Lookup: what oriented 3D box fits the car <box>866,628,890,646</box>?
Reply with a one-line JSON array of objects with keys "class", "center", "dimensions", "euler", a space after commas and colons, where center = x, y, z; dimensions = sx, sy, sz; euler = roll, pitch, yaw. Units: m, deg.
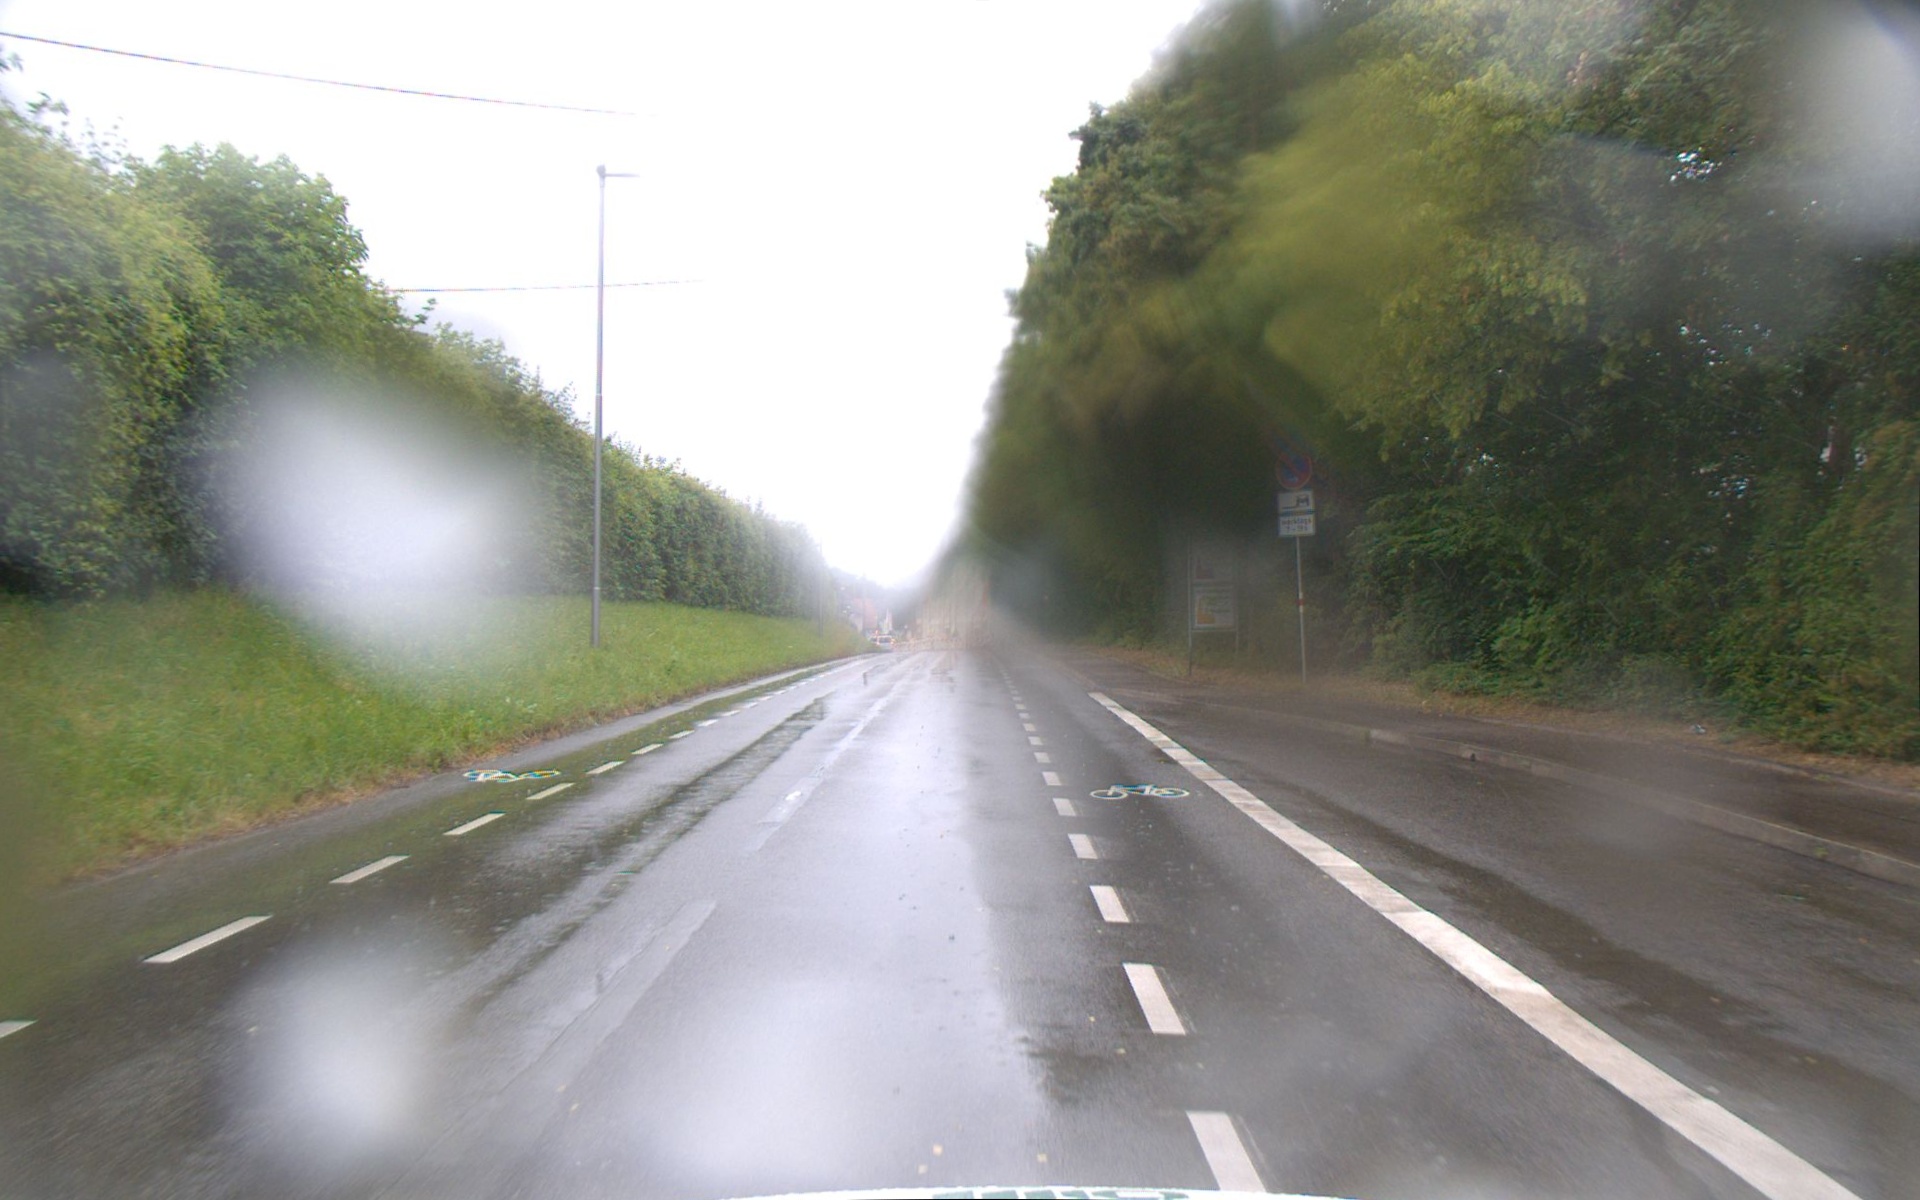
[{"class": "car", "center": [-8.315, 3.774, 167.521], "dimensions": [1.957, 1.639, 3.992], "euler": [2, 0, -9]}]
